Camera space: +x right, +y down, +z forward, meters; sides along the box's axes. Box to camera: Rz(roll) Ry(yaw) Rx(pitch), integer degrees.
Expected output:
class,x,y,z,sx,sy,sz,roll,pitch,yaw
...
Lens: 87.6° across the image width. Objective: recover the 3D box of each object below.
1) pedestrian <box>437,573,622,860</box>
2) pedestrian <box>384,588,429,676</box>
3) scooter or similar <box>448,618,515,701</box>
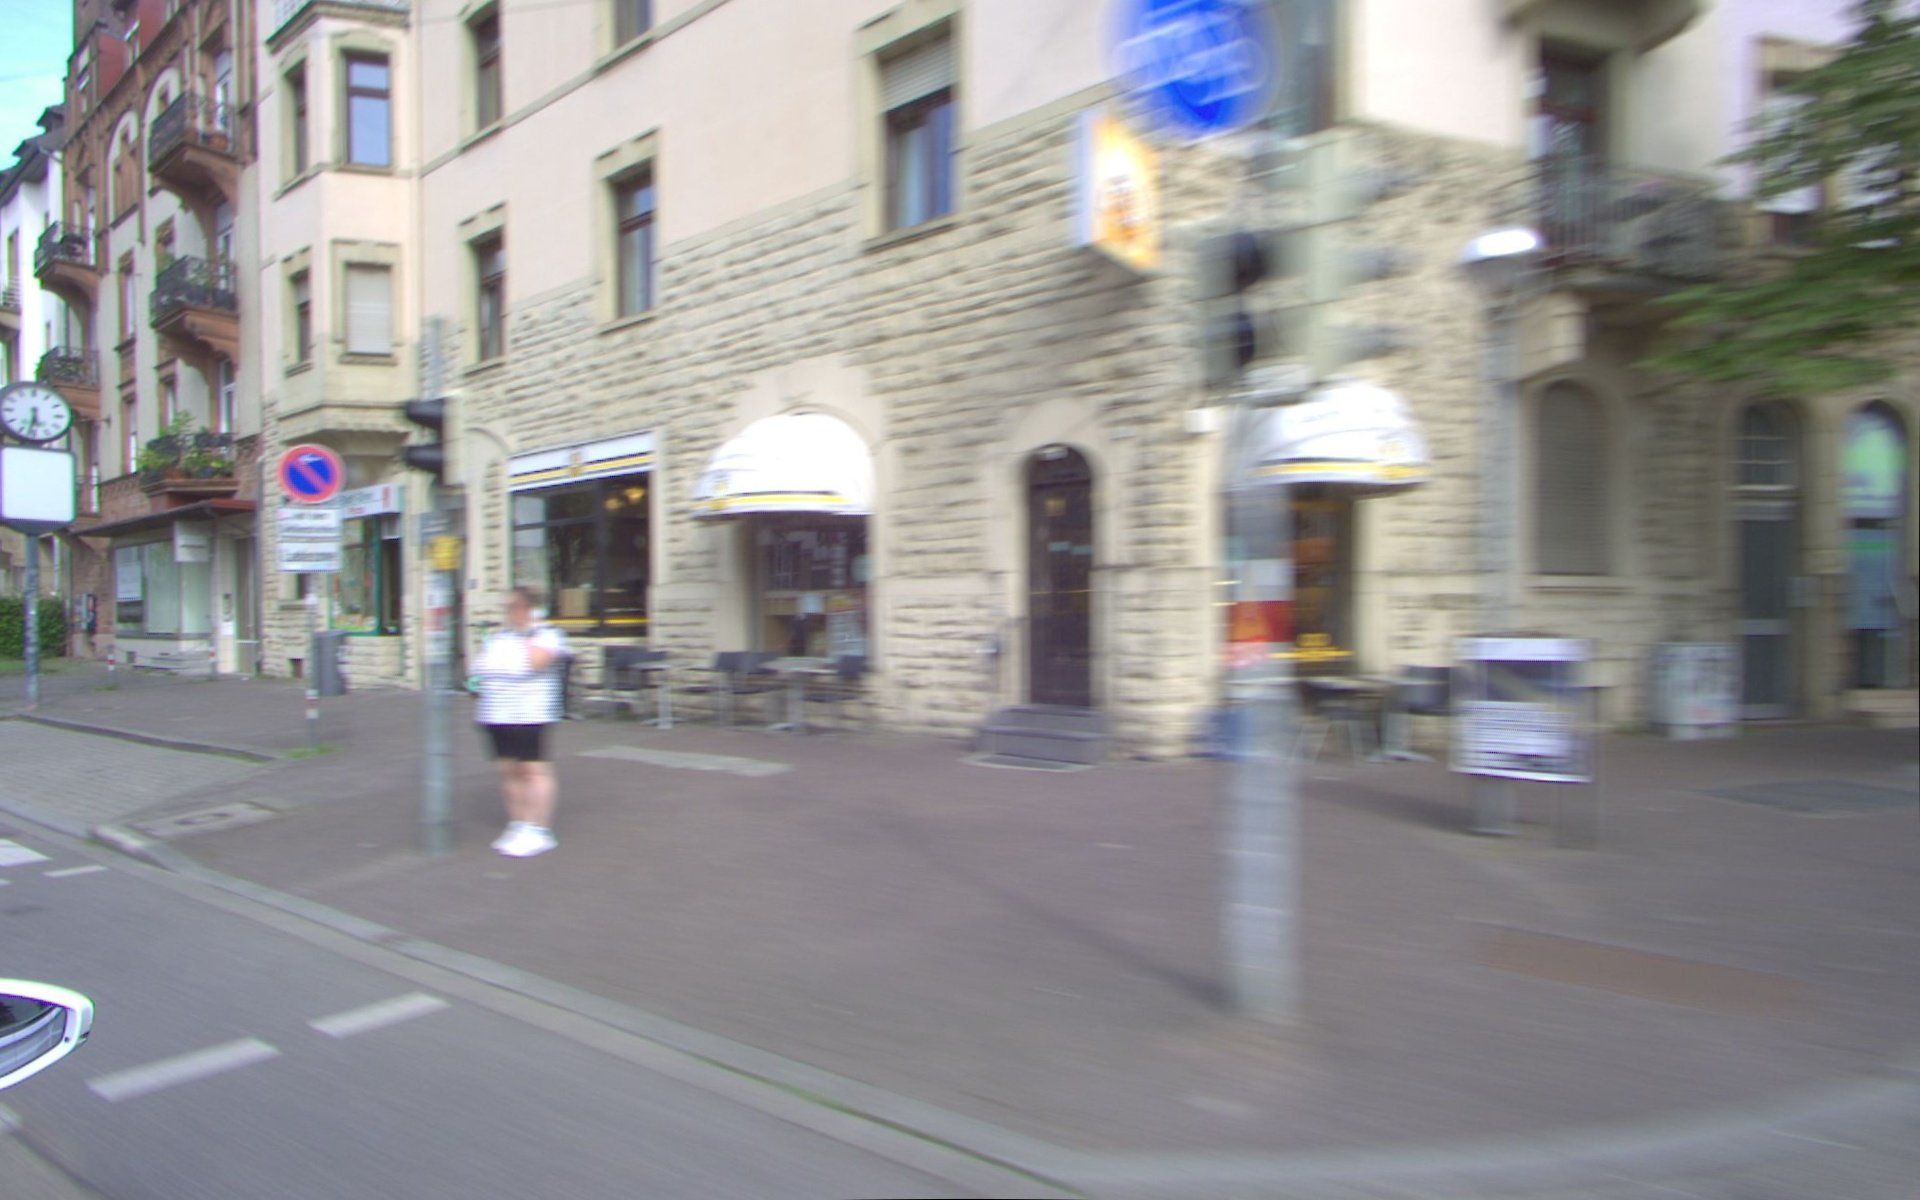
class,x,y,z,sx,sy,sz,roll,pitch,yaw
pedestrian,-2.755,0.691,6.439,0.749,1.684,0.717,0,4,34
pedestrian,-10.339,0.593,18.704,0.554,1.601,0.548,0,0,37
scooter or similar,-7.246,0.880,15.142,1.181,1.184,0.395,0,2,38
